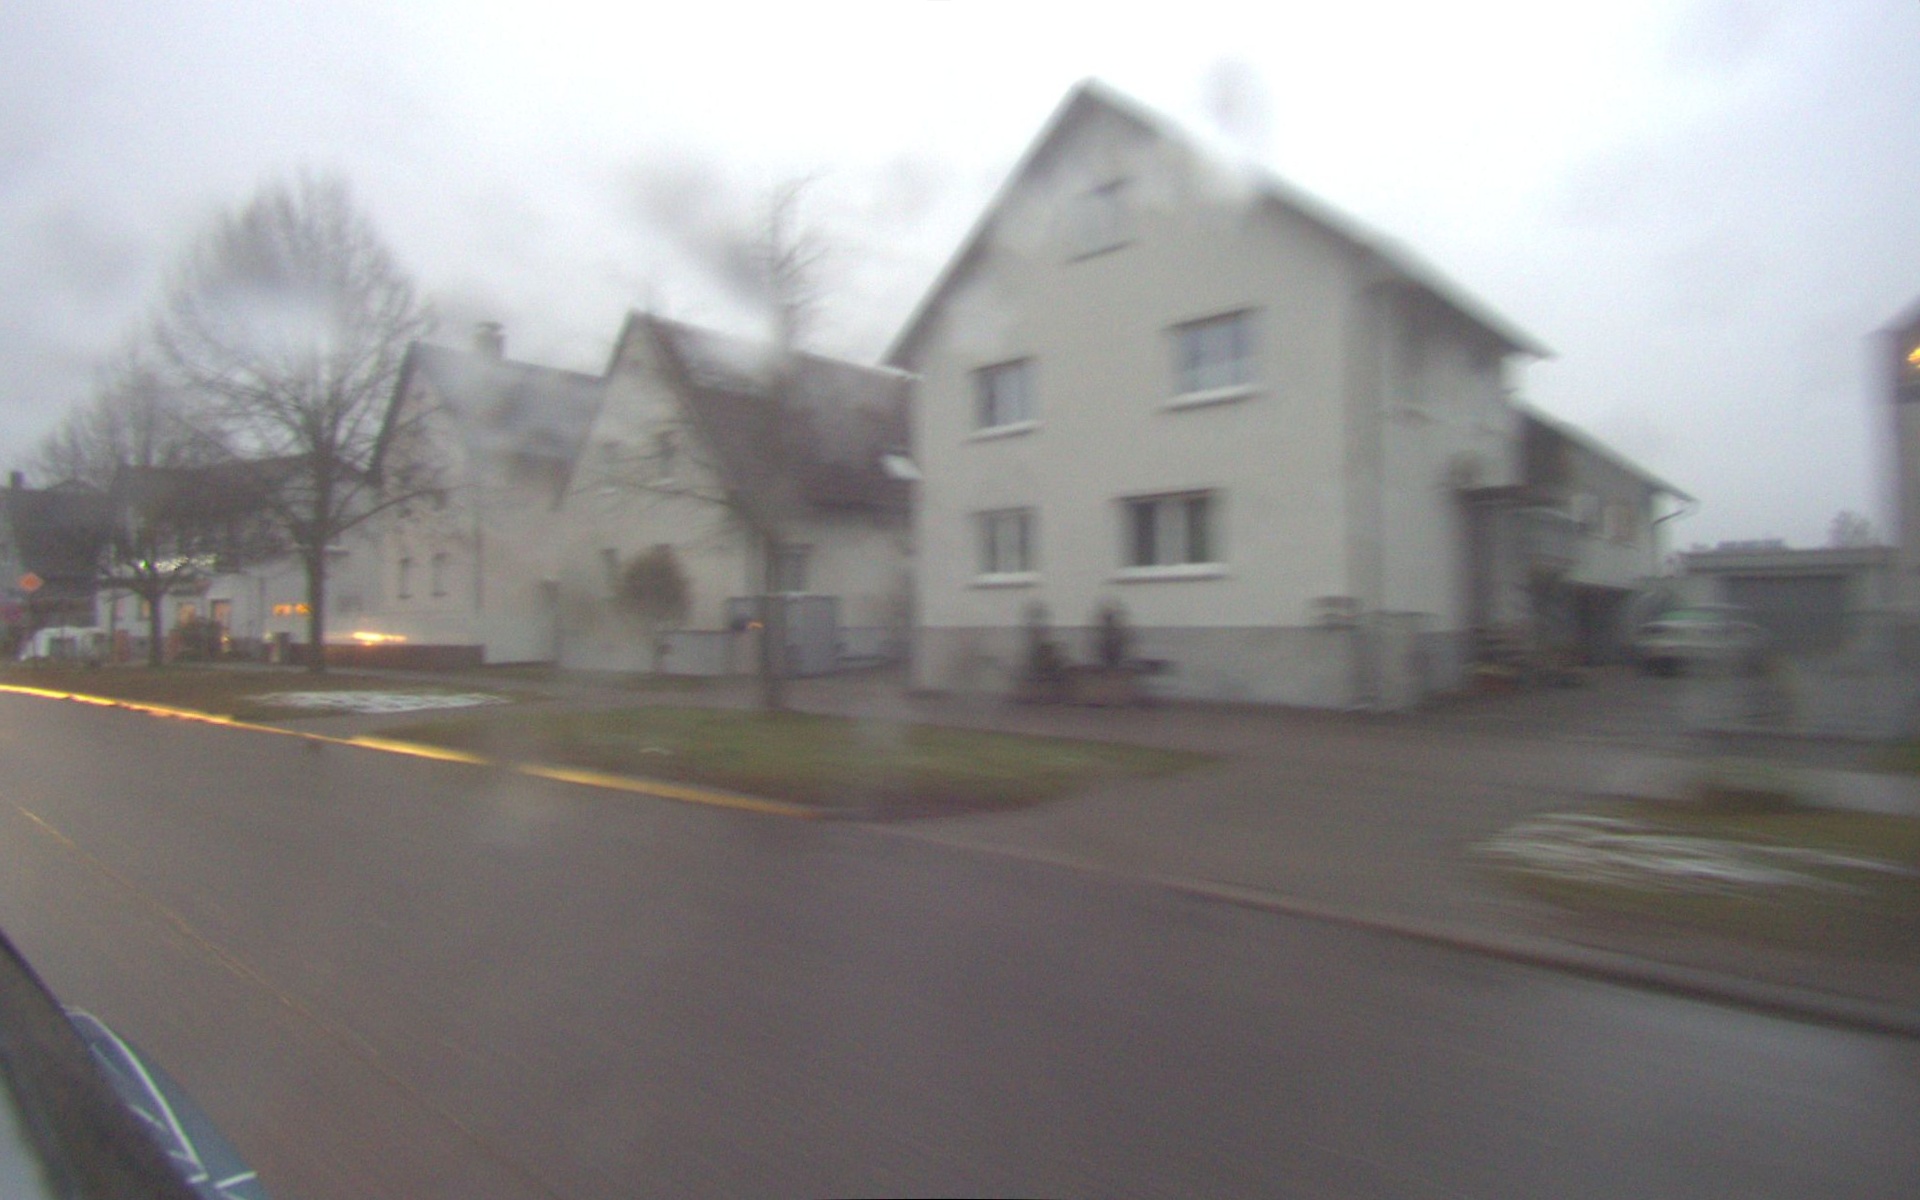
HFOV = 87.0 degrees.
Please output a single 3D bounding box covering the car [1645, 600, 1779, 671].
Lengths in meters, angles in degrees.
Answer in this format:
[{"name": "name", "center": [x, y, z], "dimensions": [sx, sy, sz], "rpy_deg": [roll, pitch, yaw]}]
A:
[{"name": "car", "center": [15.142, 0.752, 20.308], "dimensions": [1.854, 1.267, 3.945], "rpy_deg": [-2, -4, 41]}]
